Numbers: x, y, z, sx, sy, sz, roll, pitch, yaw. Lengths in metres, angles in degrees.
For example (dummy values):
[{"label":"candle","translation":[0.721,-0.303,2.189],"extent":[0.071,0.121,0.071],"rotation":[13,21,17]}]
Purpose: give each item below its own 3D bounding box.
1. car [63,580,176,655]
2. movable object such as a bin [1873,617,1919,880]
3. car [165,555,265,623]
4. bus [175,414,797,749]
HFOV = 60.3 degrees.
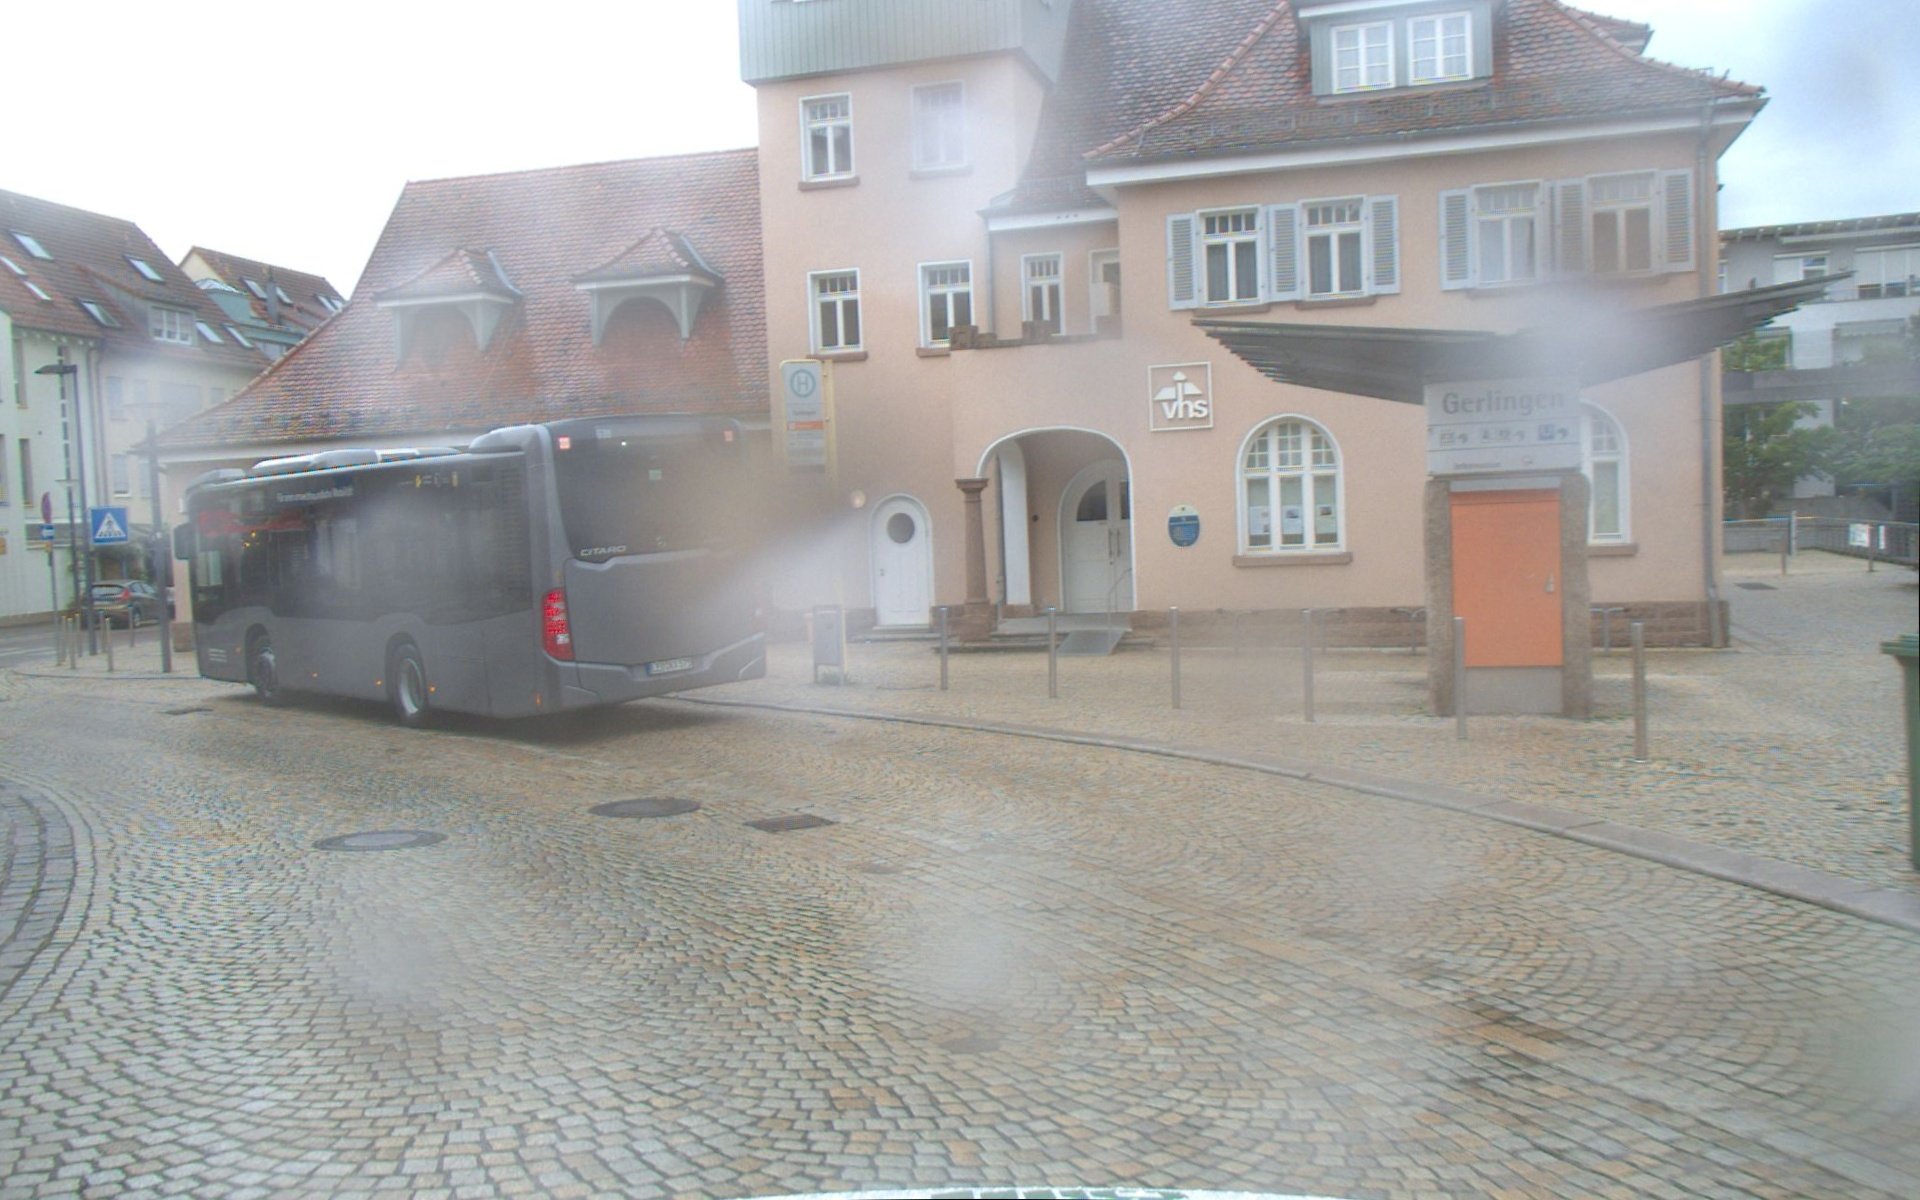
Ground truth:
[{"label":"car","translation":[-26.051,0.497,51.428],"extent":[1.957,1.895,3.993],"rotation":[-2,5,-10]},{"label":"movable object such as a bin","translation":[4.471,0.652,7.314],"extent":[0.527,1.145,0.538],"rotation":[-2,1,-9]},{"label":"car","translation":[-25.870,-0.430,57.573],"extent":[1.956,2.047,3.996],"rotation":[-2,5,-7]},{"label":"bus","translation":[-6.220,-0.292,19.824],"extent":[2.766,3.041,10.394],"rotation":[-5,4,-42]}]
